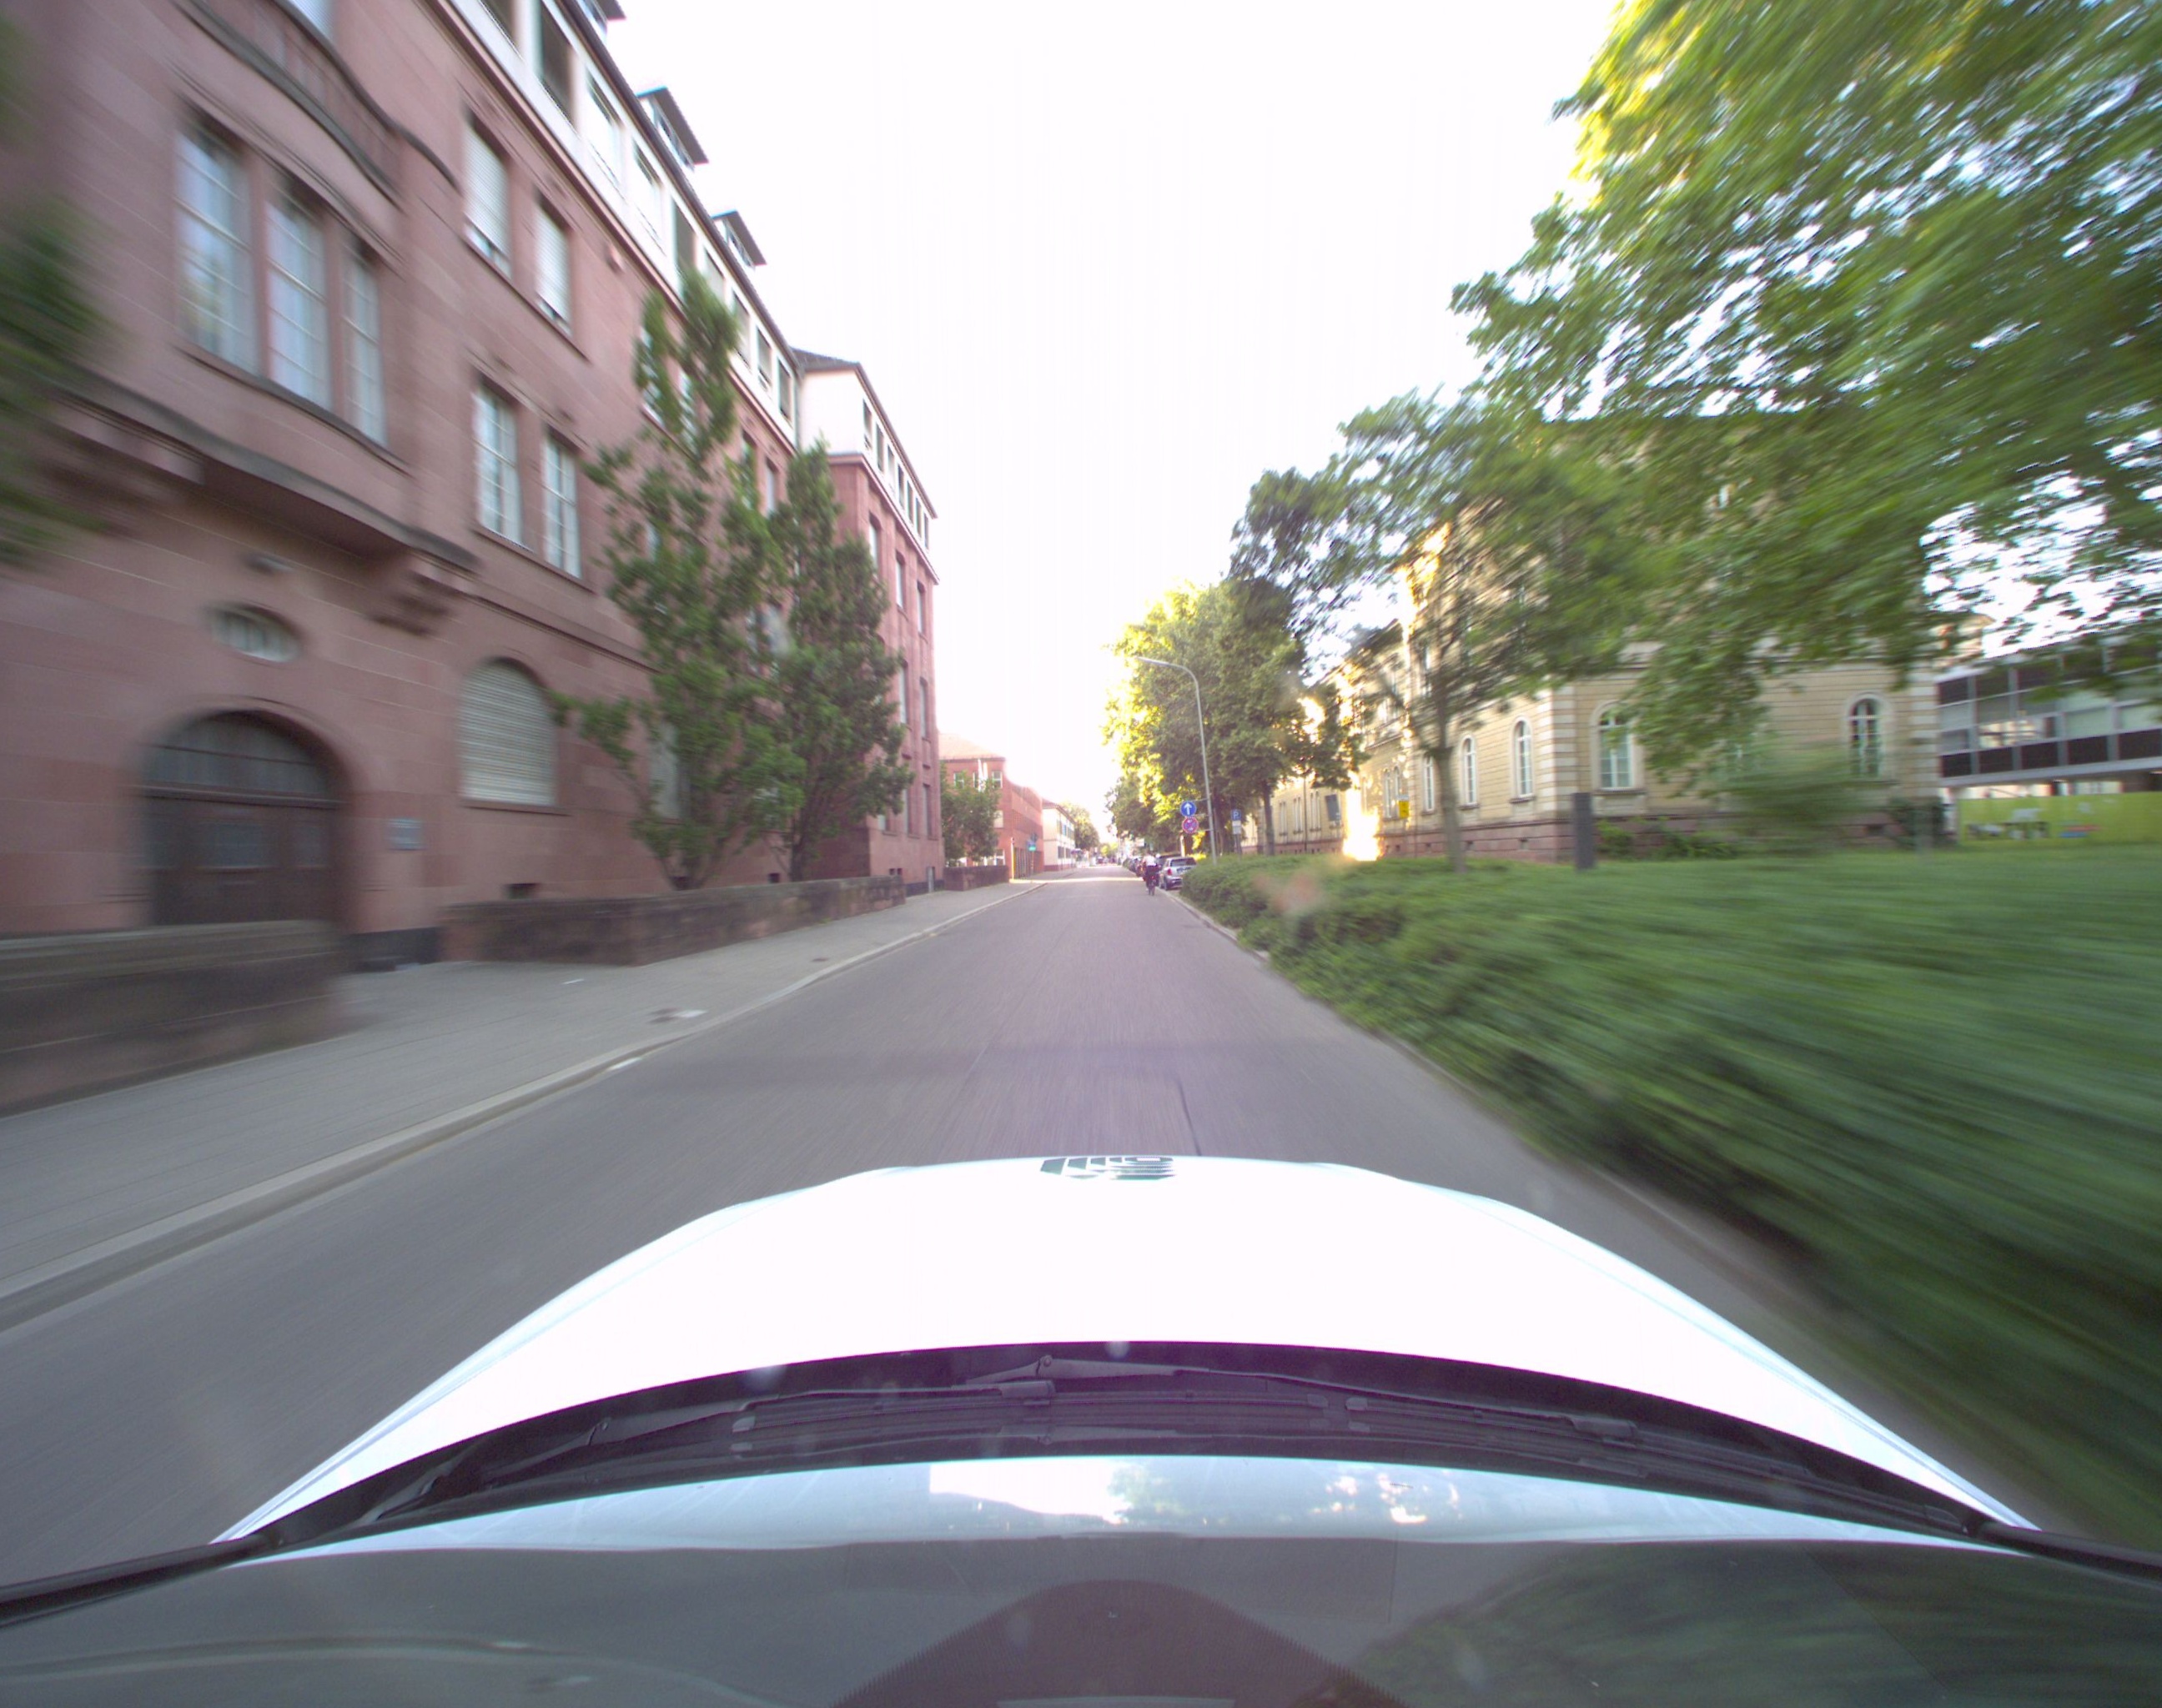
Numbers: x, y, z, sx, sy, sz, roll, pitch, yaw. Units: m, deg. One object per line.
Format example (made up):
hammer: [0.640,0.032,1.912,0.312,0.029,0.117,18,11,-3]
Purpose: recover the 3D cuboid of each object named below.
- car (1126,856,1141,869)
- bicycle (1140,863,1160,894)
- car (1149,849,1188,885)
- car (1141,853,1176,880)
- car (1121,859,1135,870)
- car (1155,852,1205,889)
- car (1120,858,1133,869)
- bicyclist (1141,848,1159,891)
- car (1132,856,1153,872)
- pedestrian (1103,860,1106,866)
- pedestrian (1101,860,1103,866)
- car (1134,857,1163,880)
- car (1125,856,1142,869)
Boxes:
car: [7.969,1.301,124.636,1.986,1.749,4.001,-3,-1,1]
bicycle: [2.735,0.963,32.329,0.636,1.193,1.876,-1,0,0]
car: [4.582,0.655,42.965,1.709,1.712,4.476,-3,0,3]
car: [4.707,0.732,49.829,1.710,1.538,4.048,-3,0,0]
car: [8.404,1.803,146.753,2.273,1.854,4.911,-3,-1,1]
car: [4.397,0.735,36.623,1.680,1.447,3.671,-5,-1,0]
car: [9.820,2.021,174.453,2.484,2.196,4.911,-3,-1,1]
bicyclist: [2.731,0.611,32.349,0.637,1.667,0.842,-1,-1,0]
car: [6.657,1.067,88.149,1.986,1.585,4.001,-3,-1,1]
pedestrian: [5.855,2.149,201.800,0.532,1.472,0.448,-3,-1,0]
pedestrian: [5.239,2.200,204.003,0.532,1.472,0.448,-3,-1,0]
car: [5.473,1.122,66.187,1.986,1.706,4.001,-3,-1,1]
car: [7.274,1.222,113.062,1.986,1.629,4.001,-3,-1,1]
